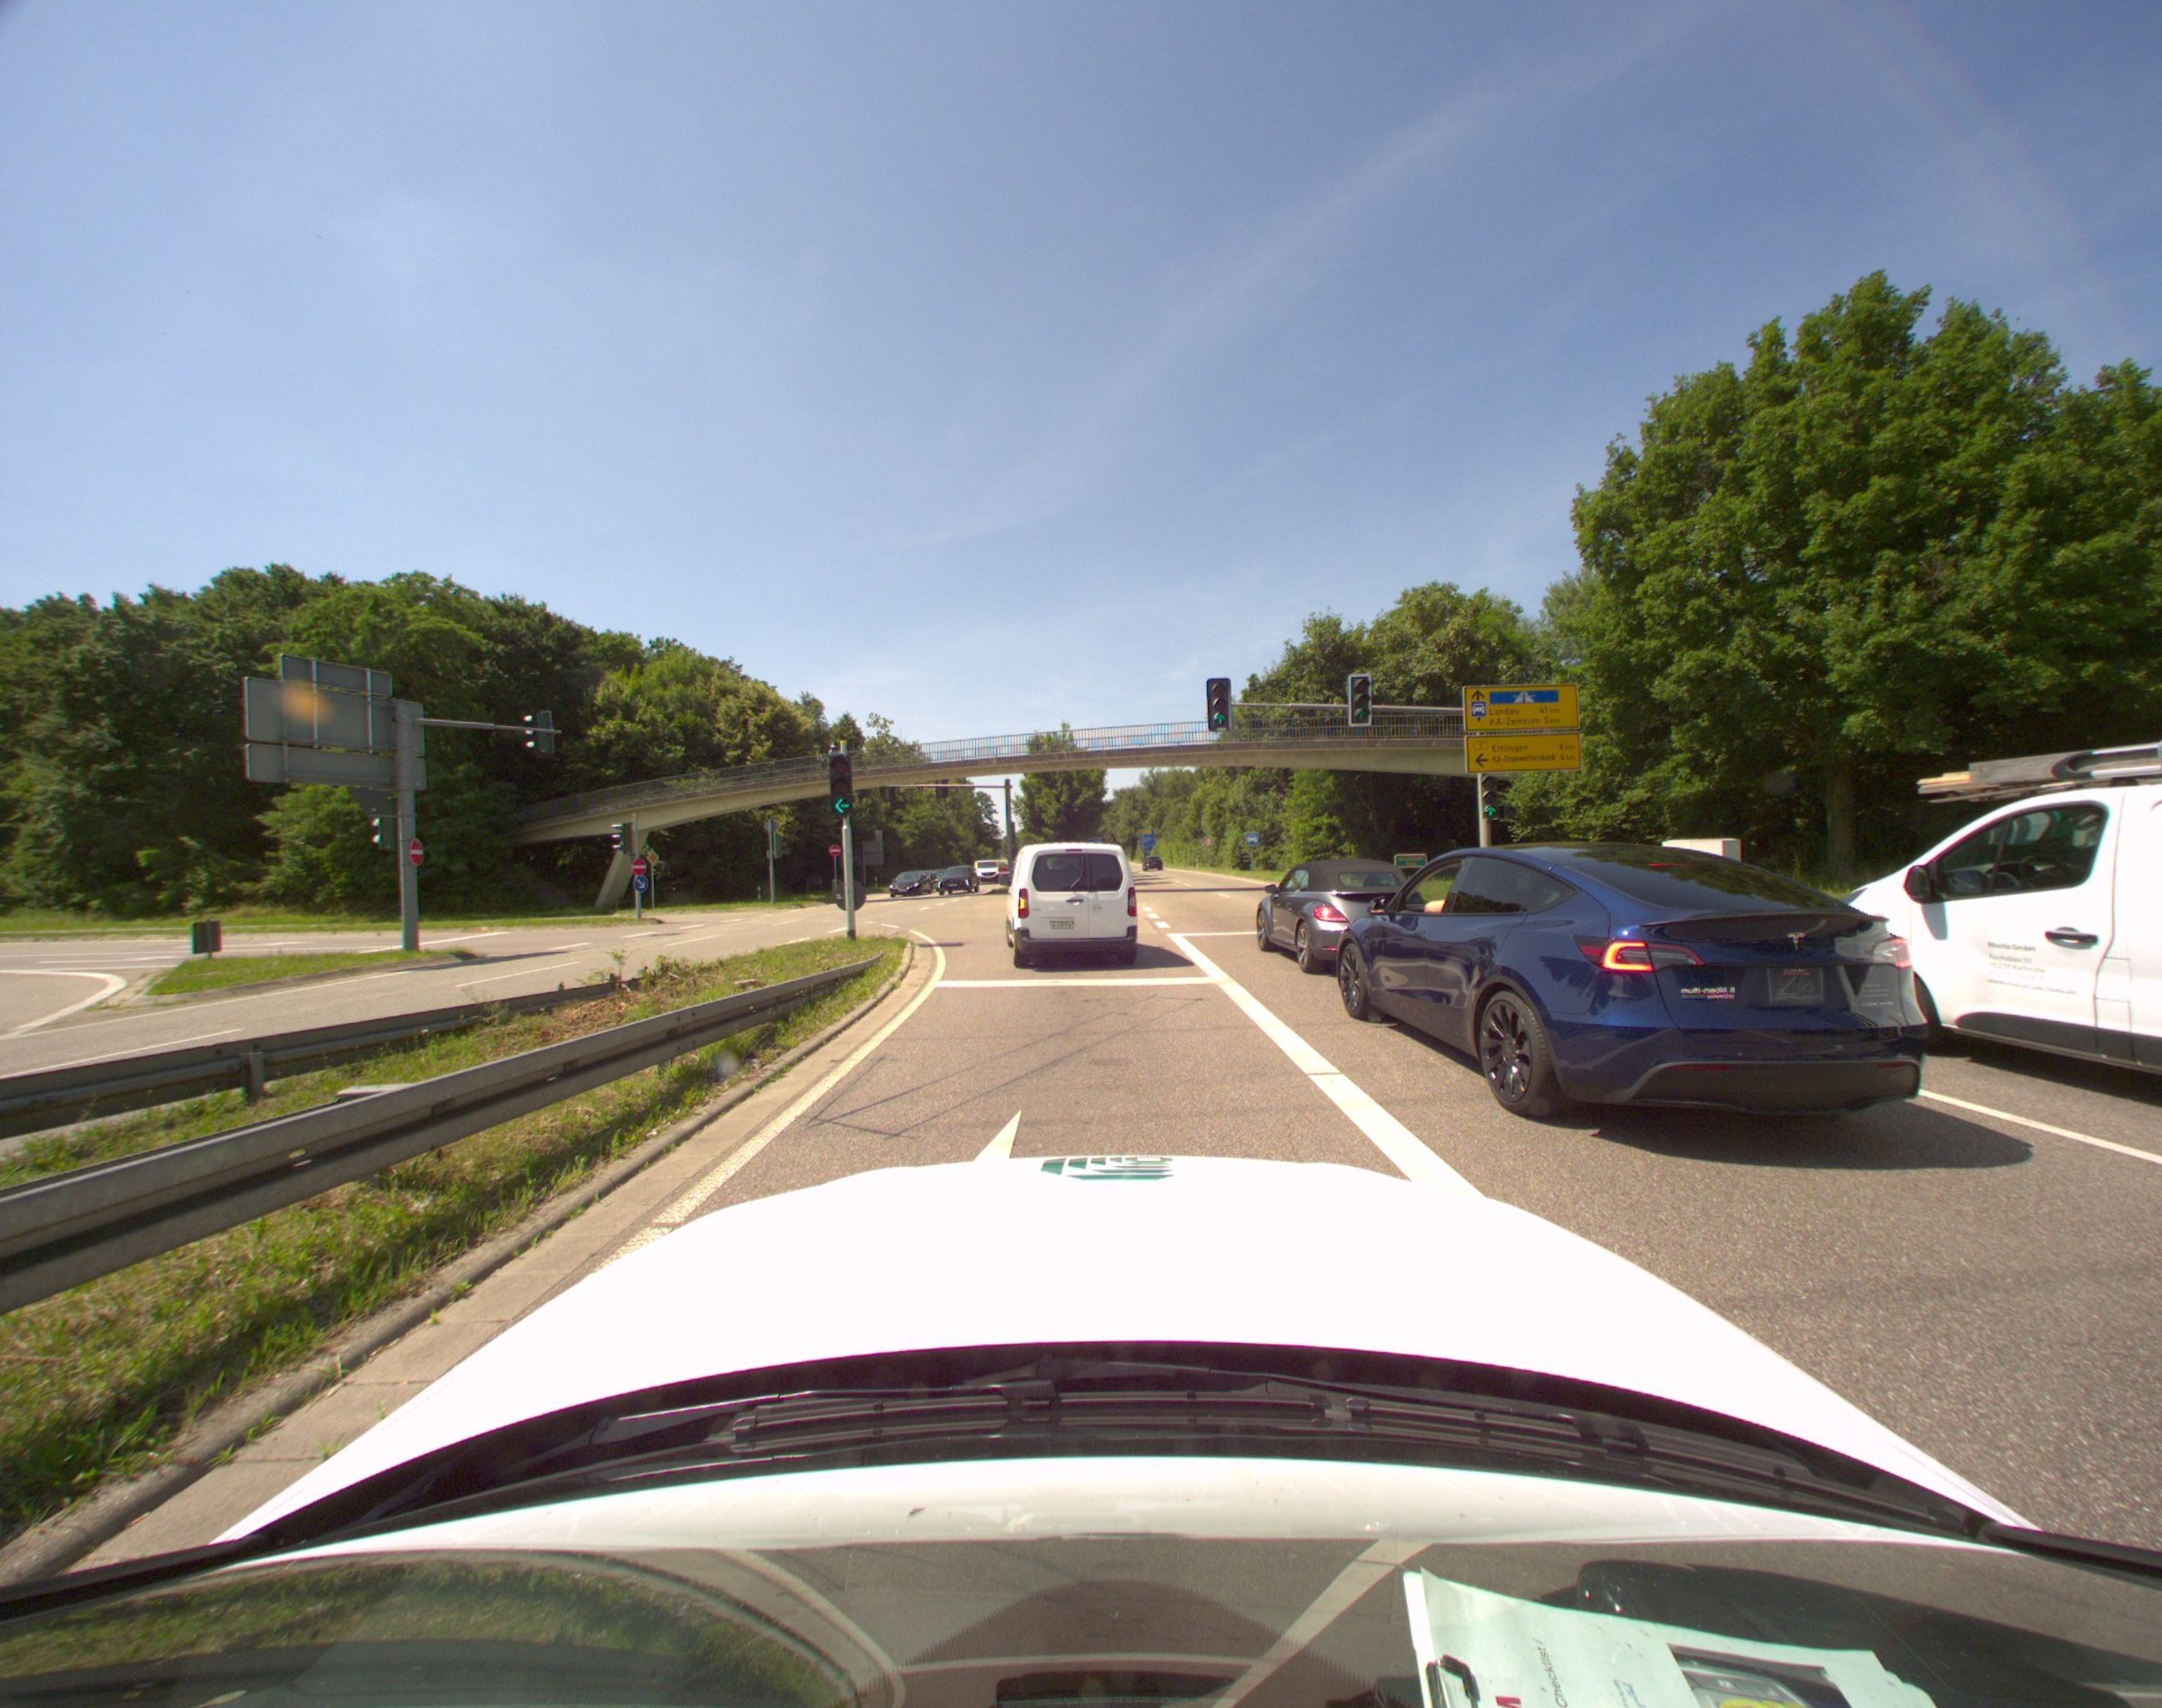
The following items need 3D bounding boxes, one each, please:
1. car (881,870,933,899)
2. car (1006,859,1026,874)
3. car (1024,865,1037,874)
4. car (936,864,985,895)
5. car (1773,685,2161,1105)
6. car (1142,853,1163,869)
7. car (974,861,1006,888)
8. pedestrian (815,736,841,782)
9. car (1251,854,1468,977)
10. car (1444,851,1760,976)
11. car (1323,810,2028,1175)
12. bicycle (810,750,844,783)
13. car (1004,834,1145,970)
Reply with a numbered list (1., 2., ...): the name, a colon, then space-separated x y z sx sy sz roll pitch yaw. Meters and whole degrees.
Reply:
1. car: -10.183 1.746 47.993 2.001 1.460 4.056 -4 -1 1
2. car: -9.209 1.745 115.084 2.200 1.993 4.734 -4 -1 1
3. car: -9.627 2.906 156.405 2.001 1.601 4.056 -4 -1 1
4. car: -6.684 1.379 45.406 1.986 1.523 4.028 -2 -1 1
5. car: 6.999 0.221 4.586 1.926 2.349 5.075 -1 0 1
6. car: 7.909 0.740 90.950 2.034 1.699 5.089 -2 0 2
7. car: -7.455 1.657 67.375 2.203 1.993 5.481 -3 -1 -3
8. pedestrian: -12.708 -4.746 40.945 0.776 2.140 0.935 -4 -2 17
9. car: 3.796 0.755 11.876 1.893 1.478 3.940 -1 0 1
10. car: 7.188 0.718 11.909 1.893 1.478 4.381 -1 0 1
11. car: 3.392 0.643 5.987 1.894 1.644 4.519 -1 0 0
12. bicycle: -12.680 -4.368 40.639 1.515 1.474 0.471 -4 -2 16
13. car: -0.265 0.643 13.148 1.847 1.825 3.972 -1 0 -7
